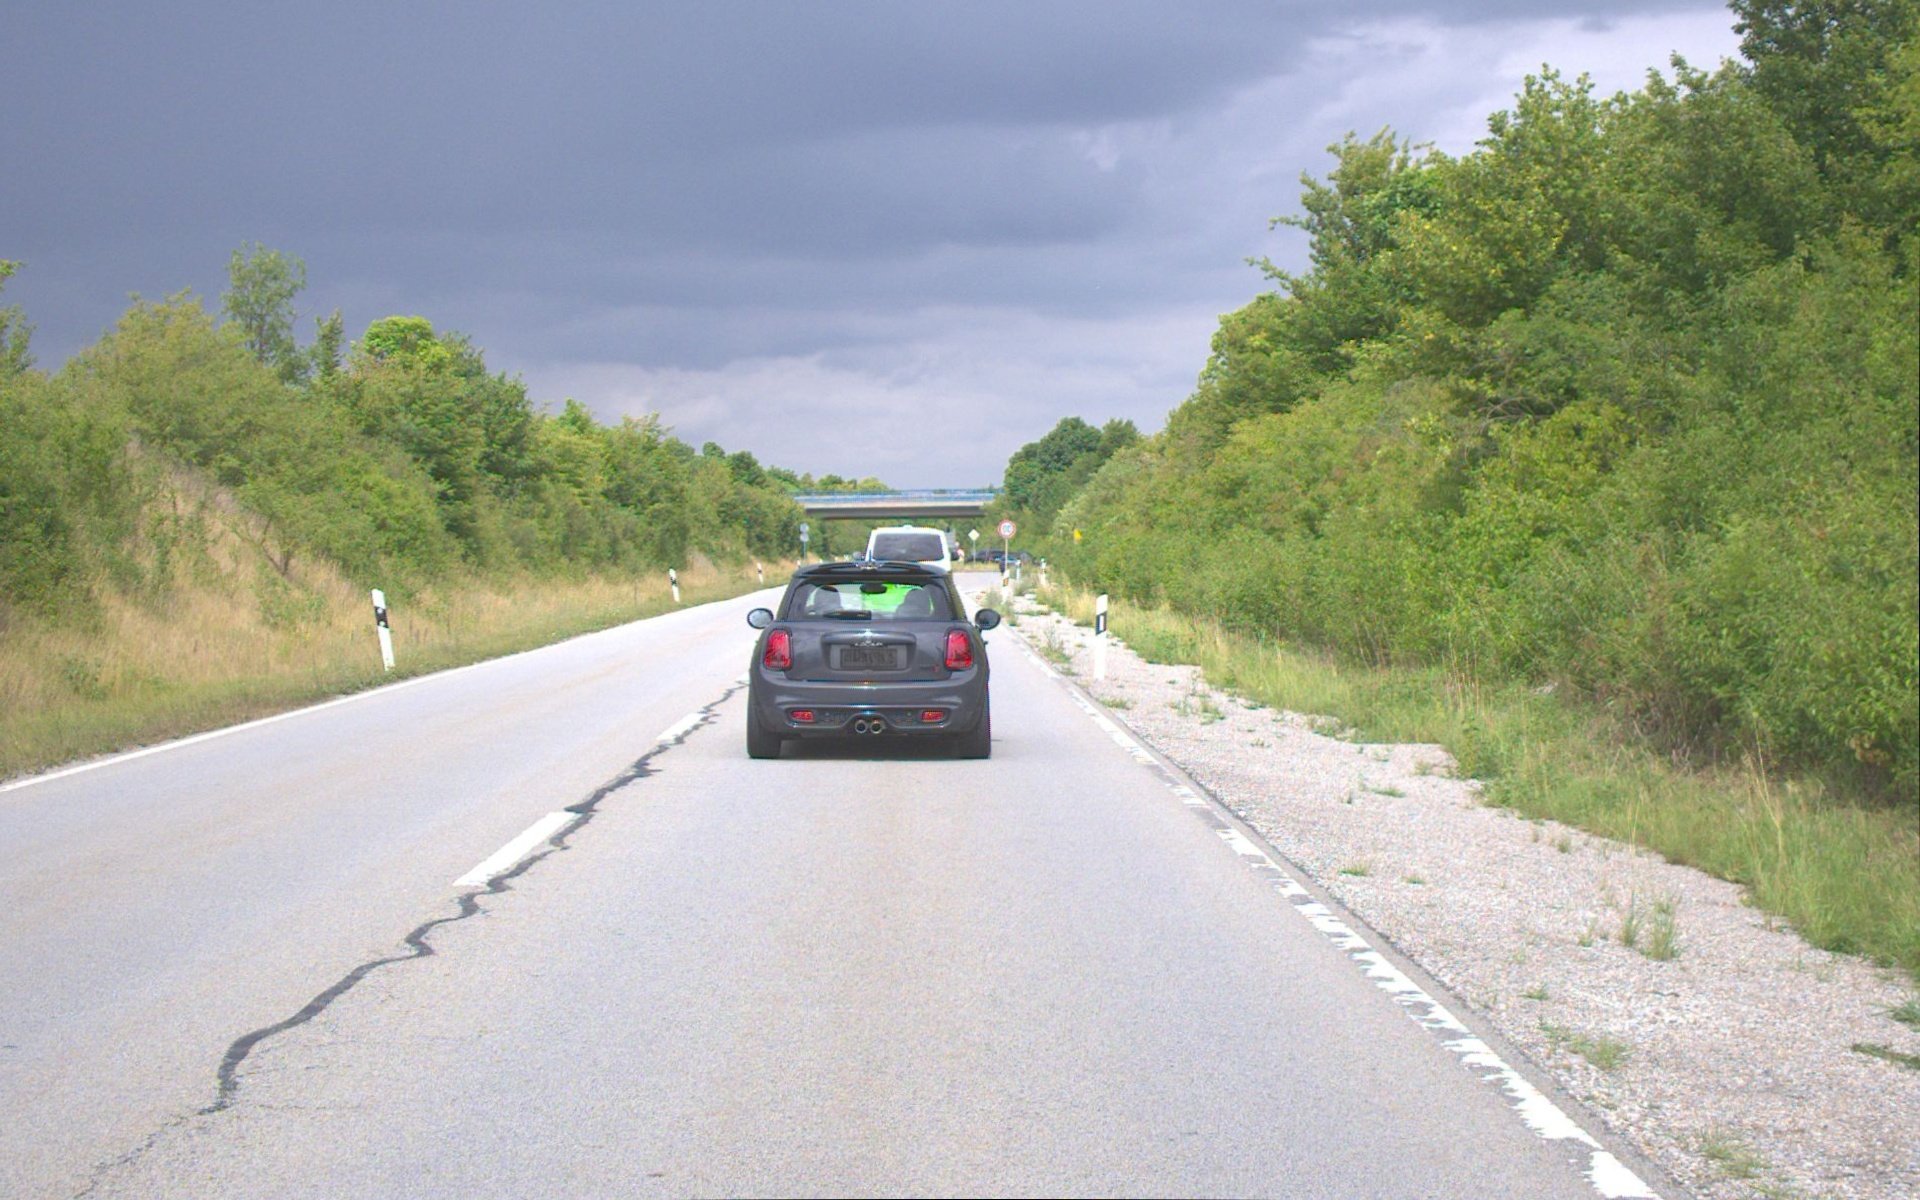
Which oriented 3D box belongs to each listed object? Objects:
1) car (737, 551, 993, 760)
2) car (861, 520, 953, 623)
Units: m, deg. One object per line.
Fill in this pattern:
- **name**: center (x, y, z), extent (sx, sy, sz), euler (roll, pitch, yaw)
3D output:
- **car**: center (-0.690, 0.357, 25.807), extent (1.756, 1.422, 4.000), euler (1, 1, -1)
- **car**: center (-1.086, -0.593, 70.762), extent (1.819, 2.047, 4.000), euler (1, 1, -1)
